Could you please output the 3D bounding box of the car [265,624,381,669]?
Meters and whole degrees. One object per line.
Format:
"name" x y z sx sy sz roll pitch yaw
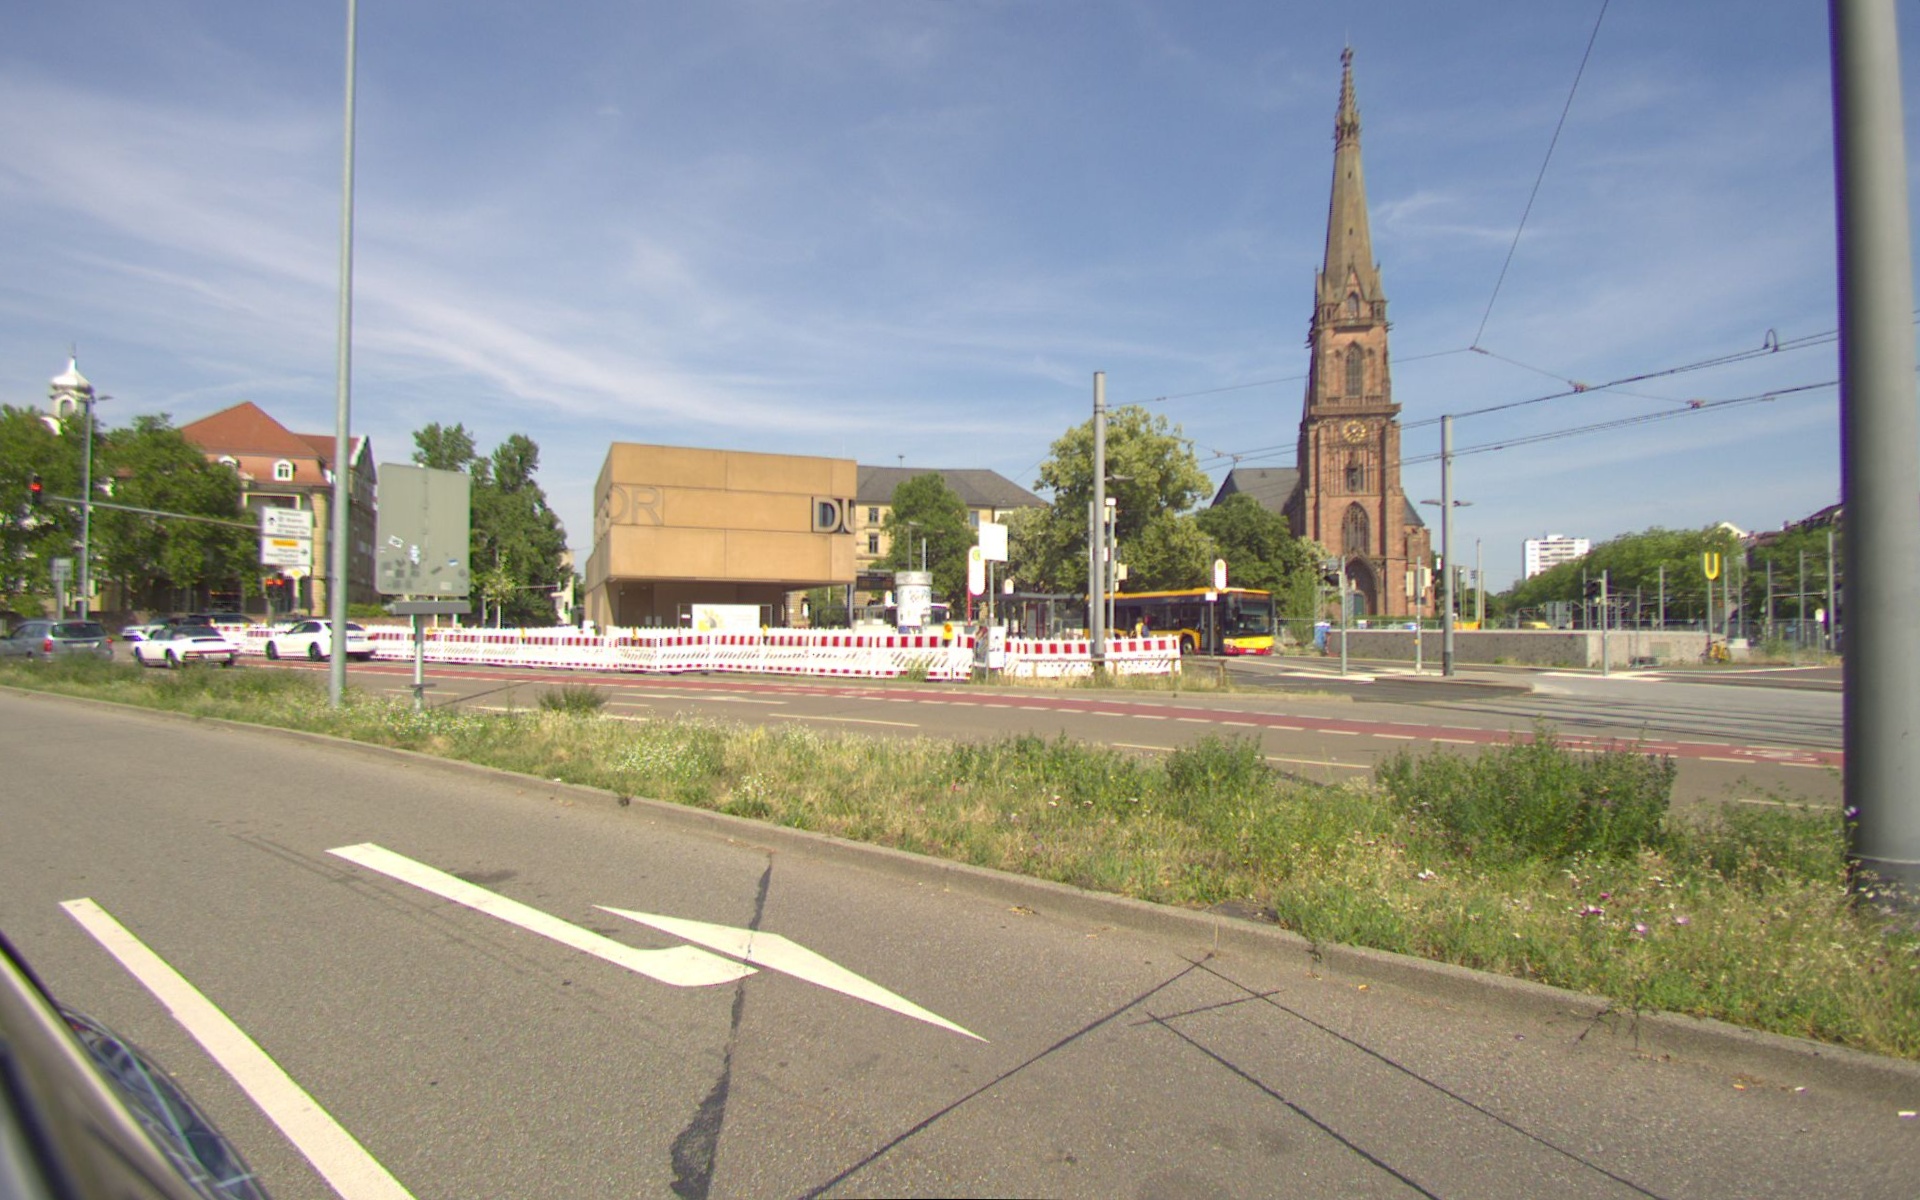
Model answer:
"car" -22.109 1.577 35.105 3.984 1.431 1.785 -1 0 30

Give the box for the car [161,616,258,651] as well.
"car" -40.489 1.772 54.716 1.741 1.742 4.098 -1 0 11

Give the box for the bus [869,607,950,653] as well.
"bus" -4.208 2.371 80.079 2.710 3.348 11.827 1 -2 -22

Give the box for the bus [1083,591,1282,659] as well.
"bus" 9.742 1.004 46.538 2.711 2.703 11.828 -1 0 -22

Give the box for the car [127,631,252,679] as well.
"car" -23.124 1.602 30.361 3.984 1.296 1.583 -1 0 30

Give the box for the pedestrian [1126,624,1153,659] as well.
"pedestrian" 7.149 1.649 40.253 0.911 1.377 0.532 -1 0 41

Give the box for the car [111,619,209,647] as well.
"car" -45.106 1.829 57.167 1.743 1.454 4.092 -1 0 15

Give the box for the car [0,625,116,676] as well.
"car" -25.386 1.361 28.228 3.984 1.296 1.583 -1 0 30
